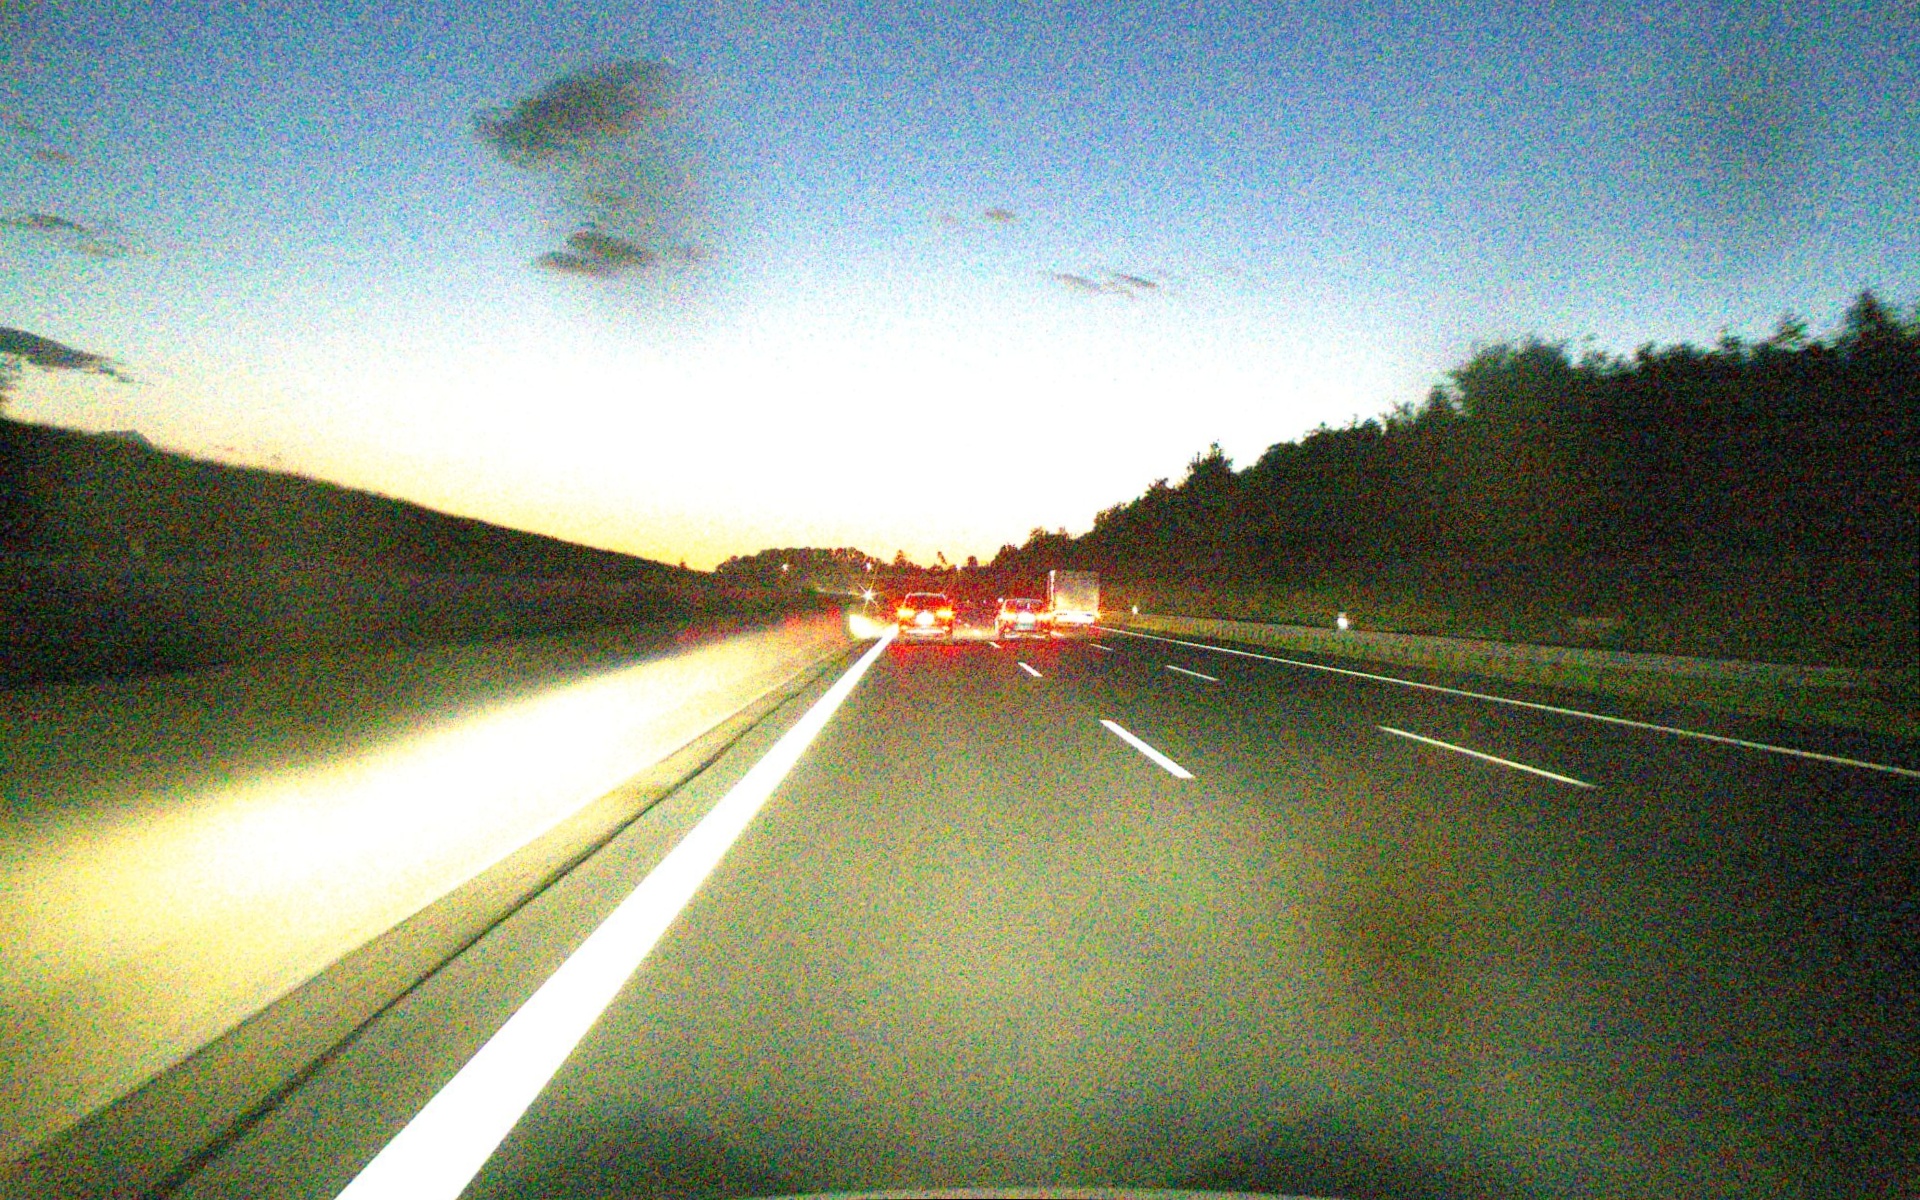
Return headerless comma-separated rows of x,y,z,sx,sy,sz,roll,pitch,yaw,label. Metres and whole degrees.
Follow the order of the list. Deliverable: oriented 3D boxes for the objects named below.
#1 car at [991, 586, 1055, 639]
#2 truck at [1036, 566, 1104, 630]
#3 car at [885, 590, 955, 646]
2.157,0.431,57.755,1.873,1.760,3.997,1,0,-3,car
5.807,-0.110,88.480,2.552,2.923,7.482,8,0,-2,truck
-1.302,0.552,52.569,2.064,1.646,4.202,2,0,-3,car
